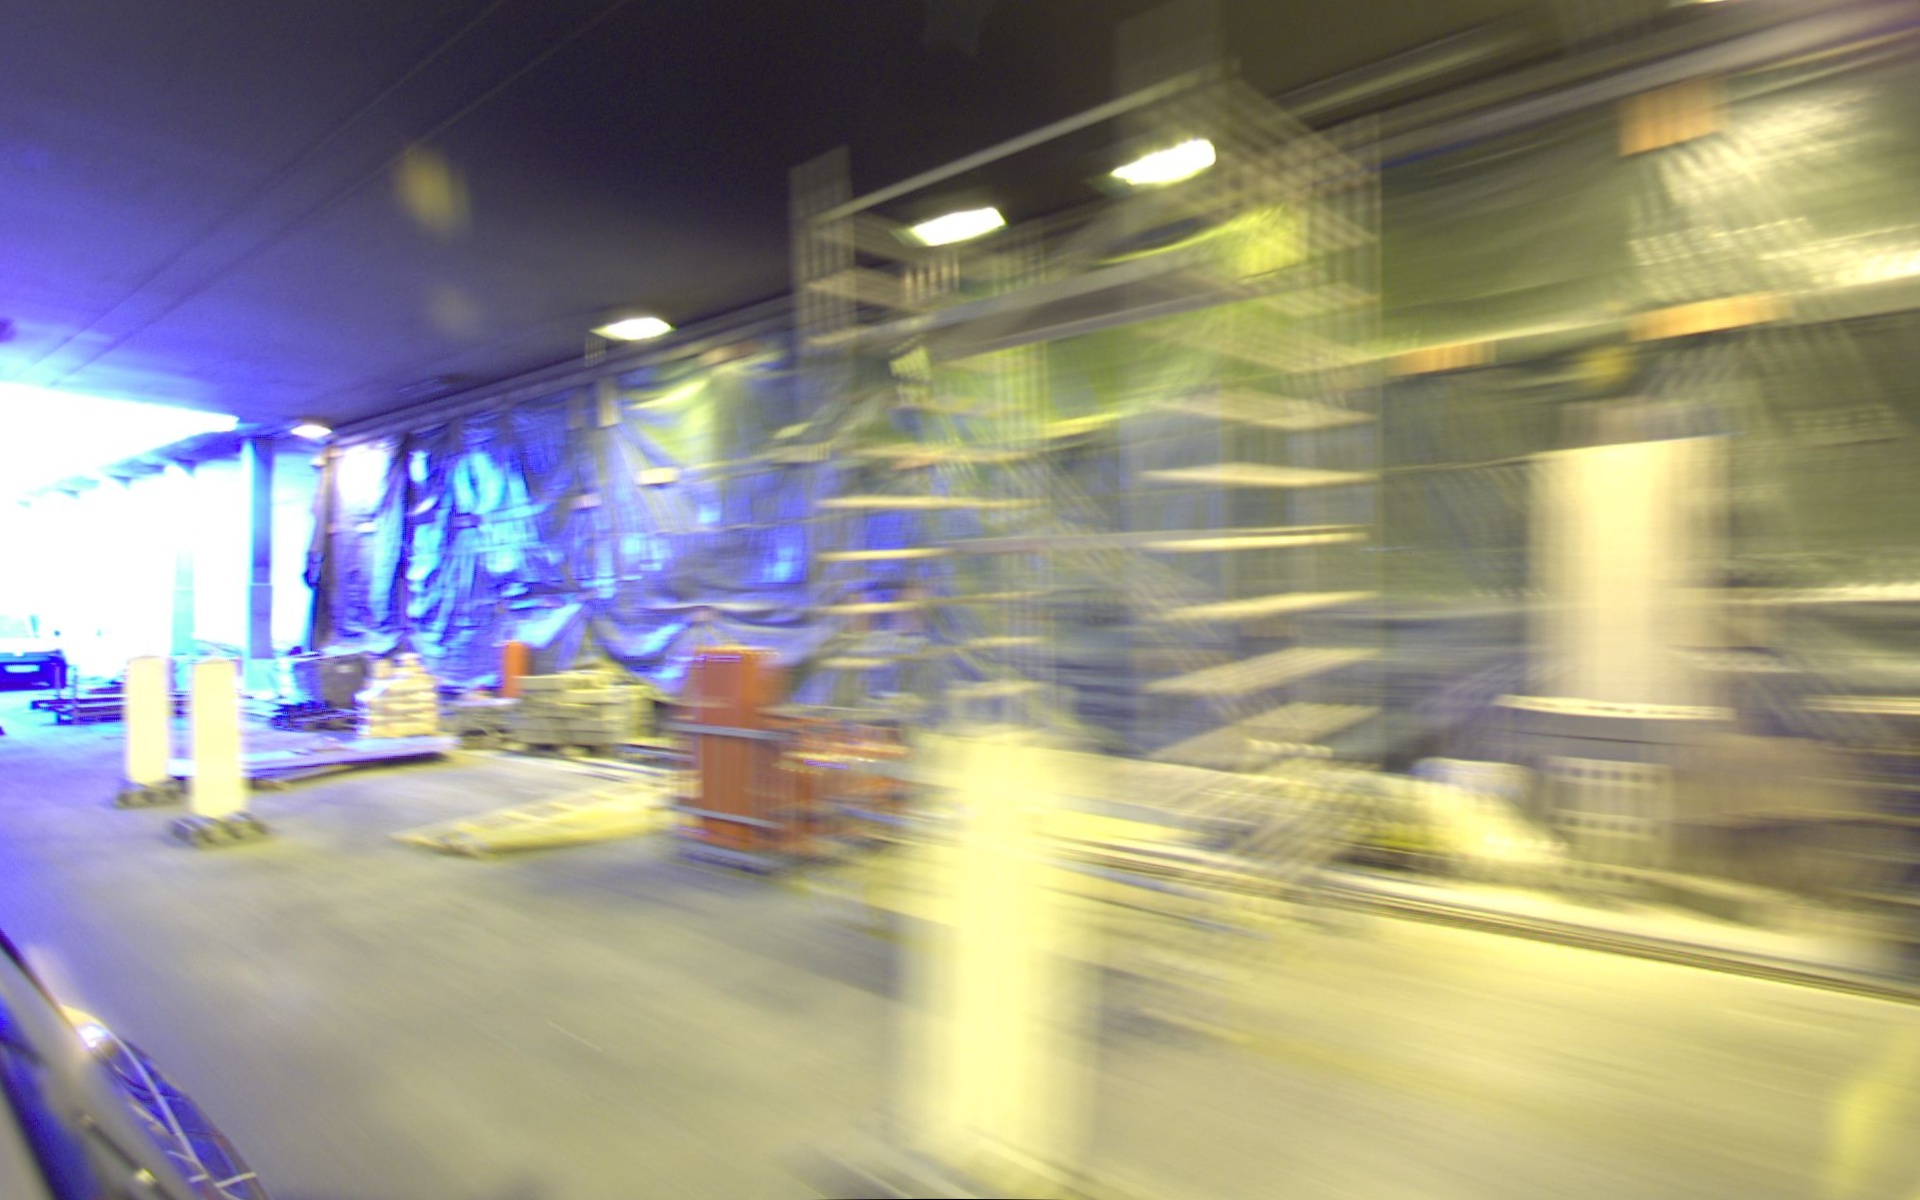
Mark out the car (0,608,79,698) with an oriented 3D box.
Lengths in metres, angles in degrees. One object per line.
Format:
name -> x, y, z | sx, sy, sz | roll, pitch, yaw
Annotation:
car -> -20.616, 1.056, 21.537 | 4.424, 1.789, 1.832 | 0, -1, 35

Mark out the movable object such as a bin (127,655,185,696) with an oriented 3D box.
movable object such as a bin -> -16.208, 1.509, 20.408 | 1.029, 0.747, 0.646 | 1, -1, 35
